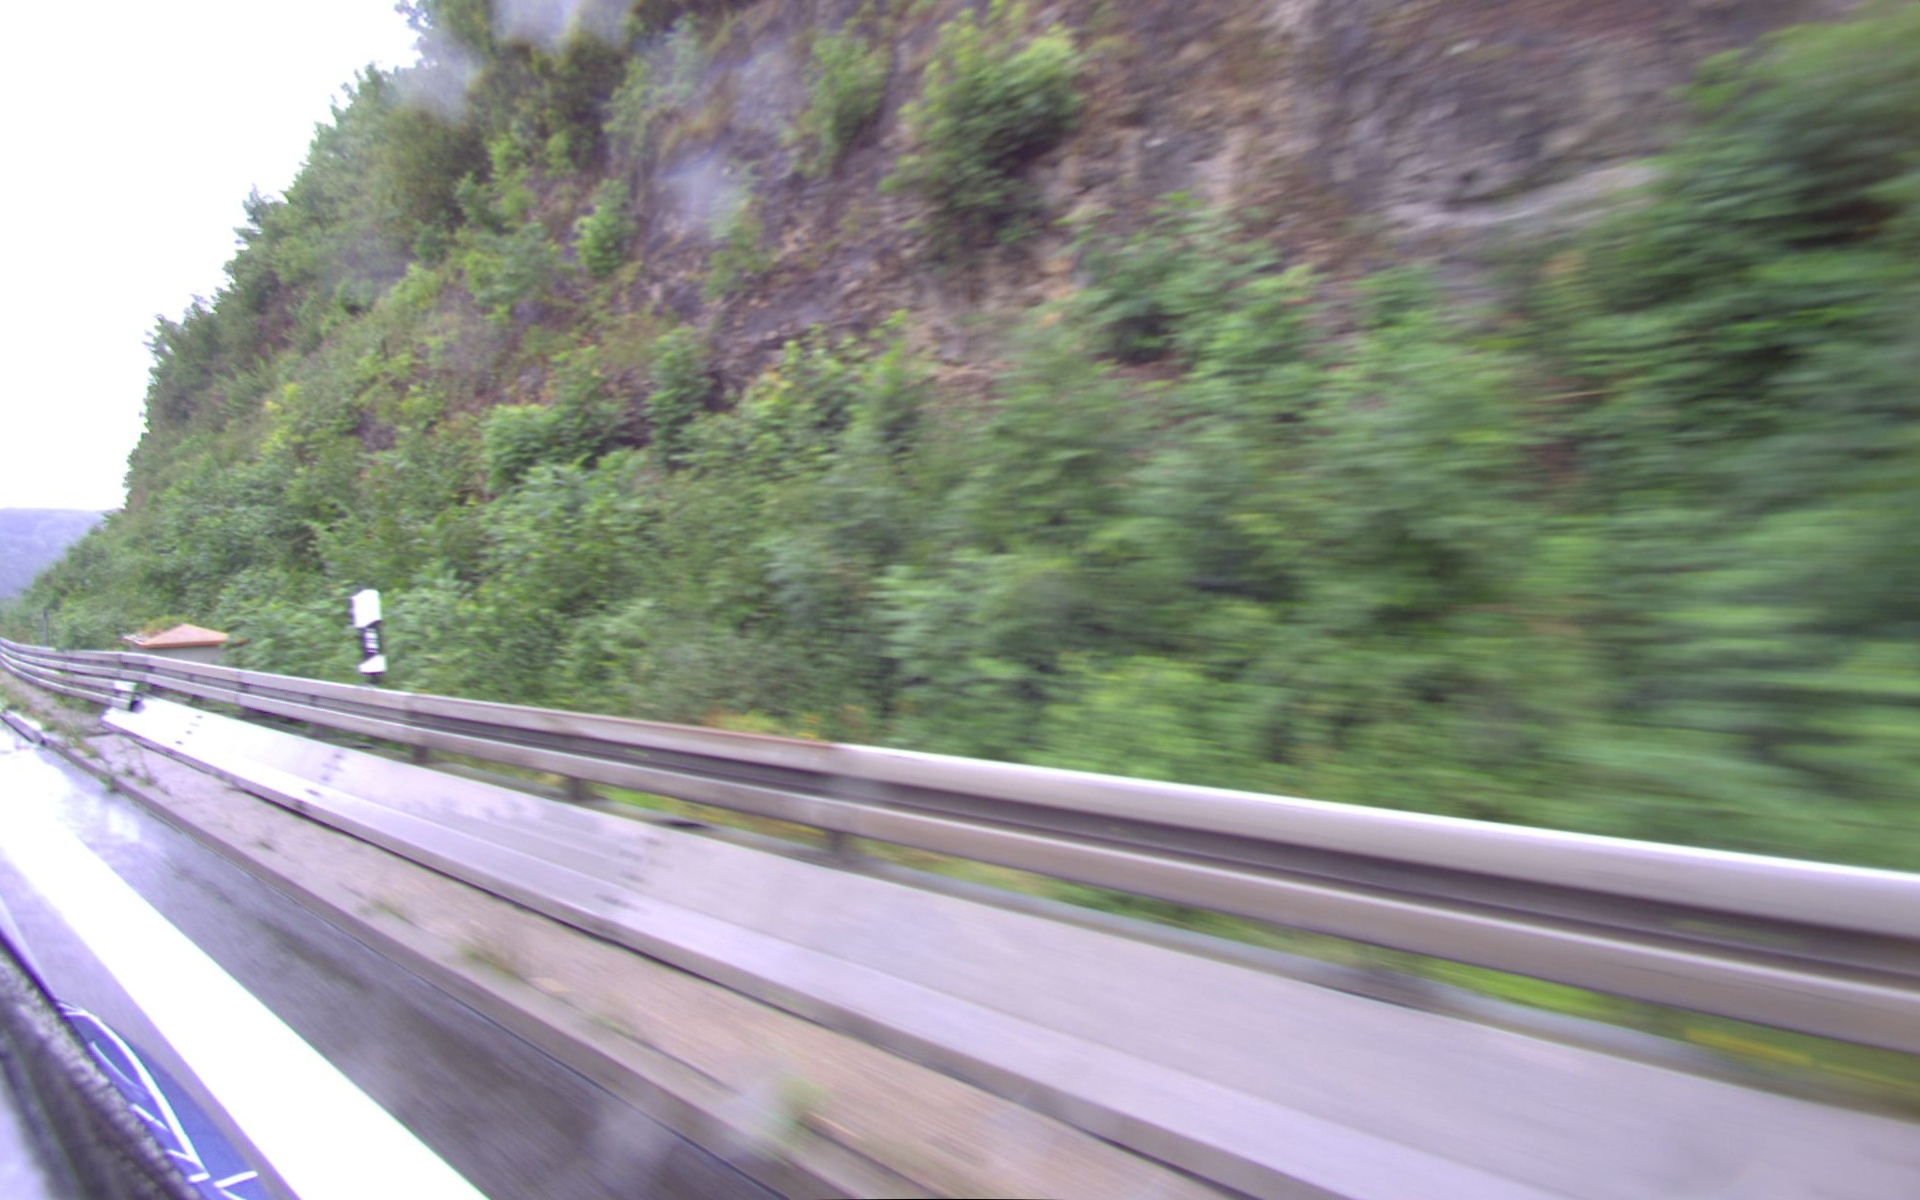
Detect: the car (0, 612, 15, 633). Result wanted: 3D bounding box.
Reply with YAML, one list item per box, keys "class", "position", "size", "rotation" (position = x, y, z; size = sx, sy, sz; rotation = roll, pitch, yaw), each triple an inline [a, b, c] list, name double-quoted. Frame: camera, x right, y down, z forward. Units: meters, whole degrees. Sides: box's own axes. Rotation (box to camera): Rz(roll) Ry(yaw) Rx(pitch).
- class: "car"
  position: [-88.769, 2.112, 93.825]
  size: [1.568, 1.920, 3.758]
  rotation: [-1, 0, -42]
